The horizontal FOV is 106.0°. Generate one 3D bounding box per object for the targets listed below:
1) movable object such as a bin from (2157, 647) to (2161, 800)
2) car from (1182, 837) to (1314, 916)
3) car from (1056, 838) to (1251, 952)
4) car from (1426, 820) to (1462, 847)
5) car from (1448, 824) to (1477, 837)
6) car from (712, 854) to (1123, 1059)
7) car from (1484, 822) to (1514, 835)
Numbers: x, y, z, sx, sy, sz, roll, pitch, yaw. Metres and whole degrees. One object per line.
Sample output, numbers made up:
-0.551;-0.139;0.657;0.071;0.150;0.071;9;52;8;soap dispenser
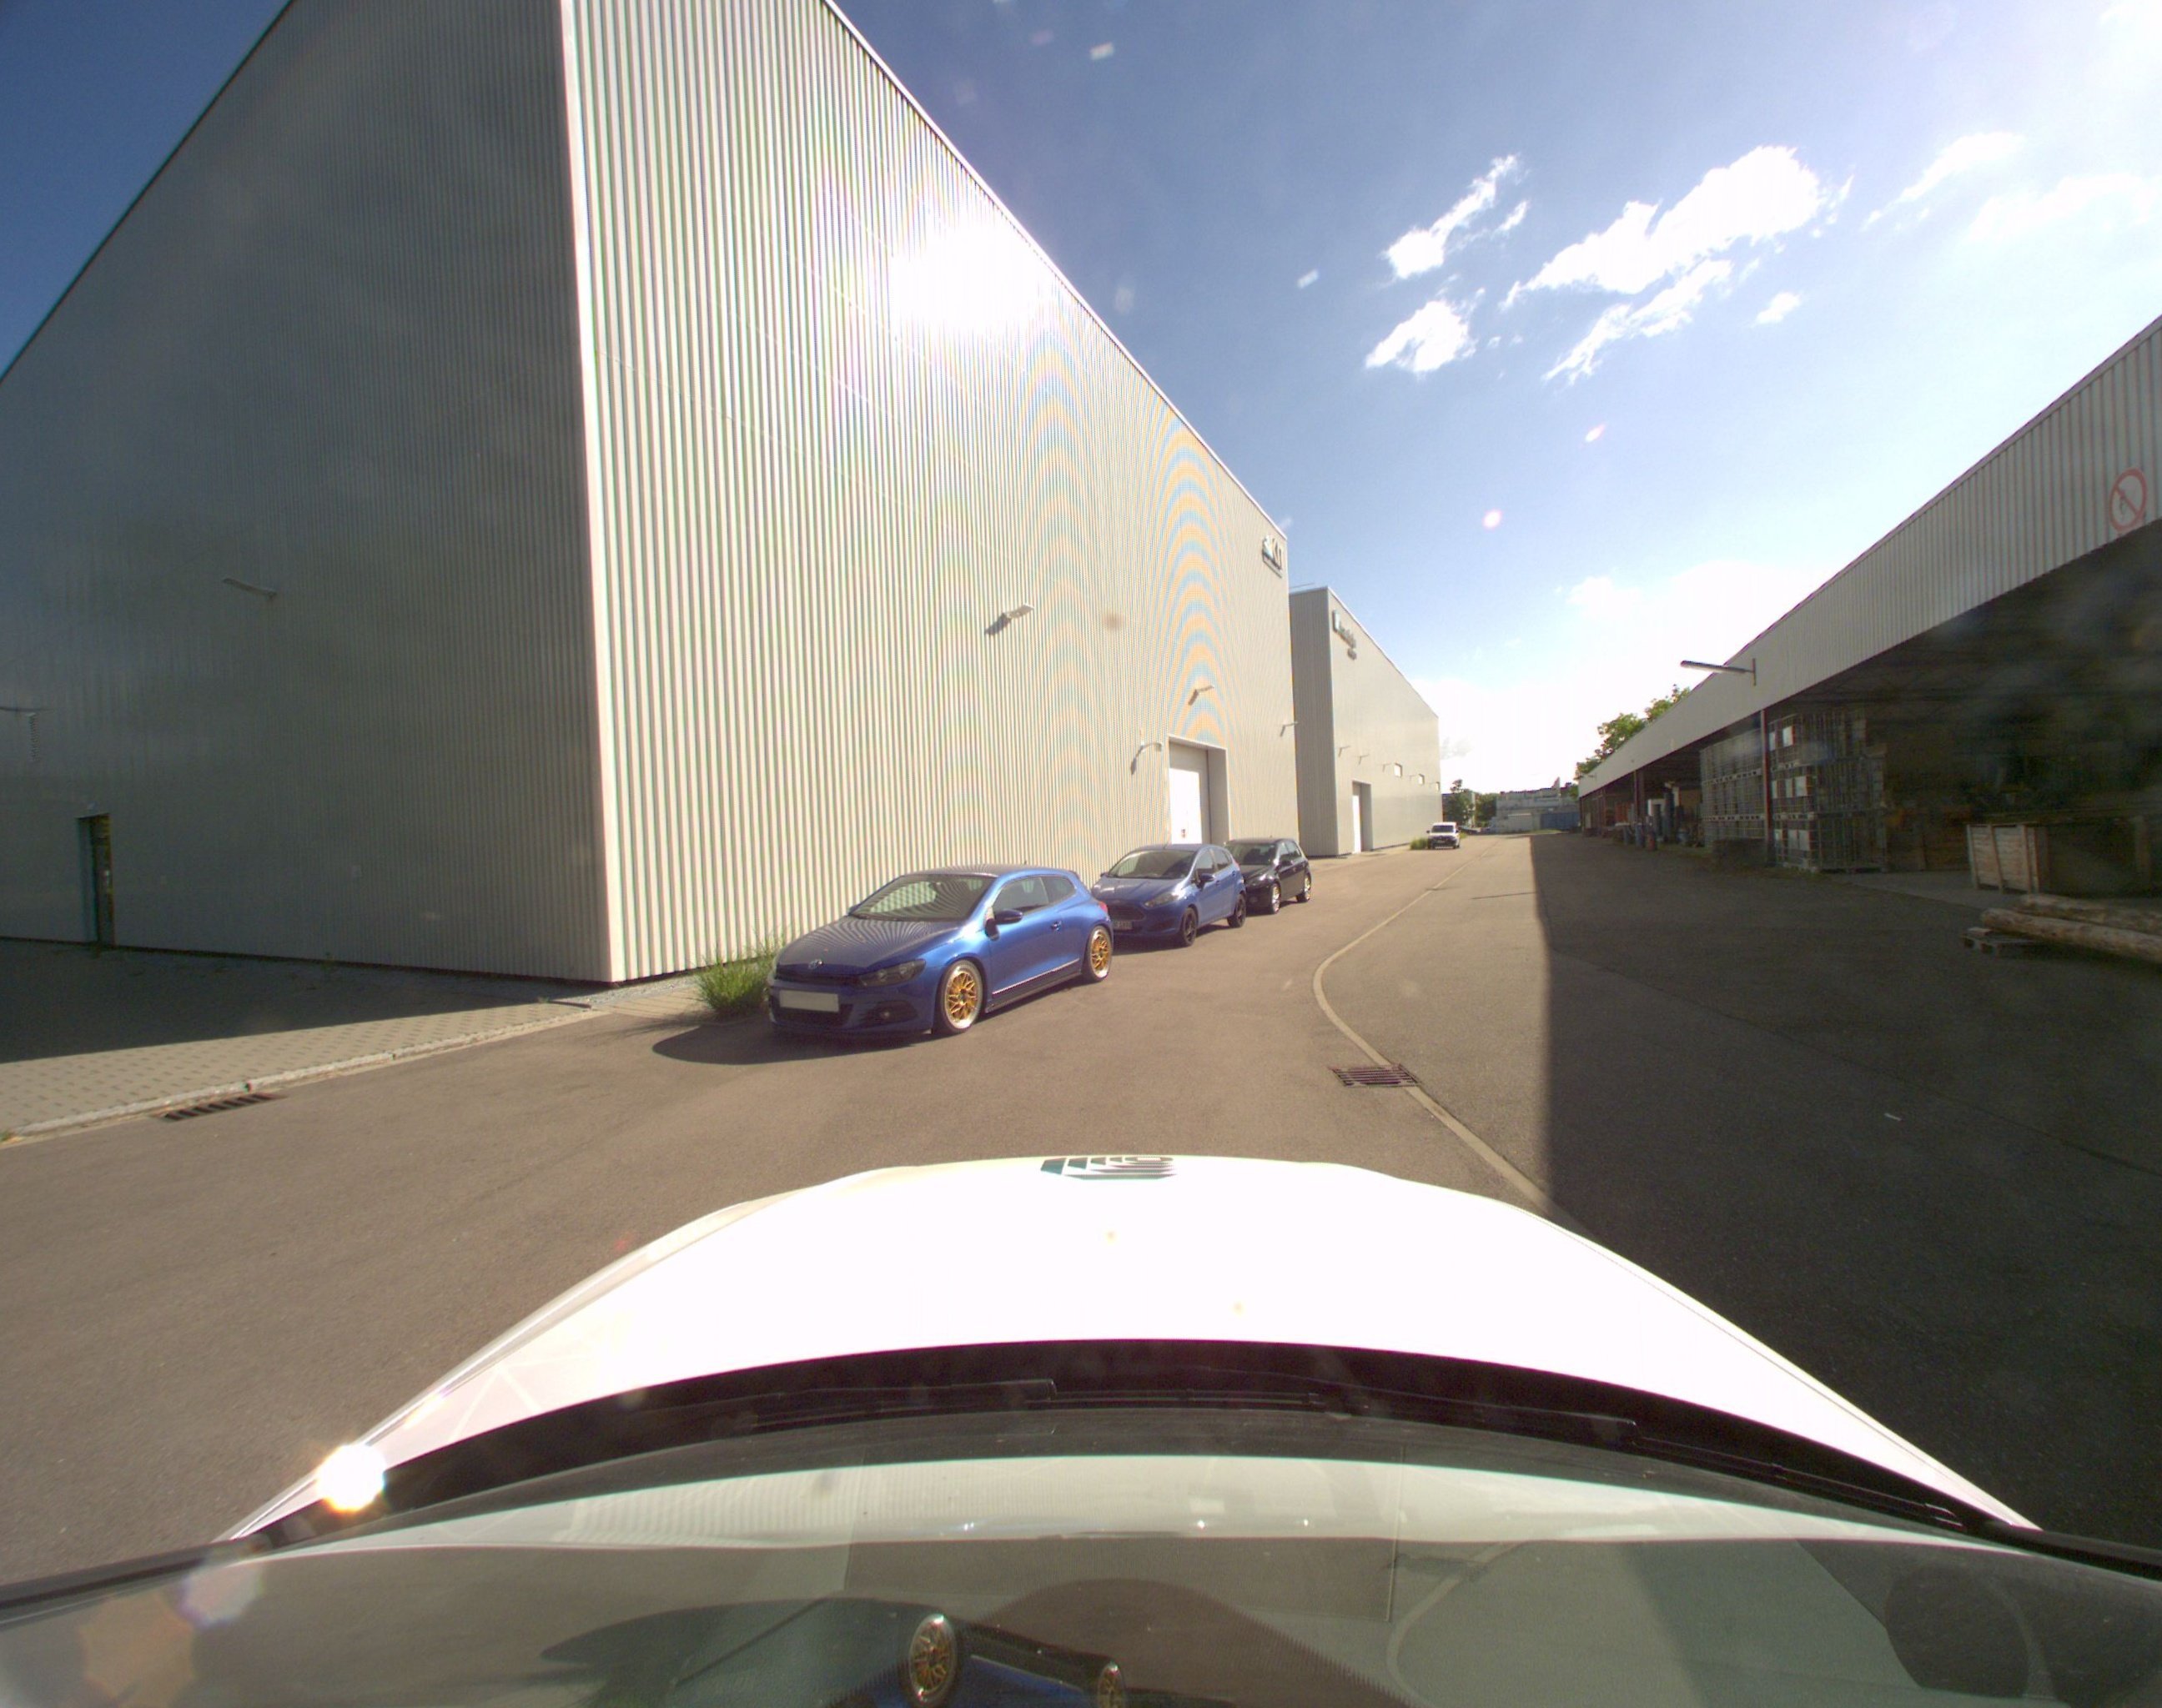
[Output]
14.514;-0.970;6.936;5.893;2.951;2.512;-2;1;30;movable object such as a bin
3.680;0.385;17.432;1.733;1.418;3.922;0;2;28;car
1.327;0.520;13.107;1.733;1.473;3.922;0;2;28;car
24.712;-1.386;55.362;1.689;1.756;4.326;0;2;32;car
60.929;-3.743;129.982;4.046;1.775;1.912;-2;1;27;car
-1.271;0.765;8.158;1.733;1.384;4.194;-2;1;28;car
64.926;-3.889;126.456;4.046;1.775;1.912;-2;1;27;car
